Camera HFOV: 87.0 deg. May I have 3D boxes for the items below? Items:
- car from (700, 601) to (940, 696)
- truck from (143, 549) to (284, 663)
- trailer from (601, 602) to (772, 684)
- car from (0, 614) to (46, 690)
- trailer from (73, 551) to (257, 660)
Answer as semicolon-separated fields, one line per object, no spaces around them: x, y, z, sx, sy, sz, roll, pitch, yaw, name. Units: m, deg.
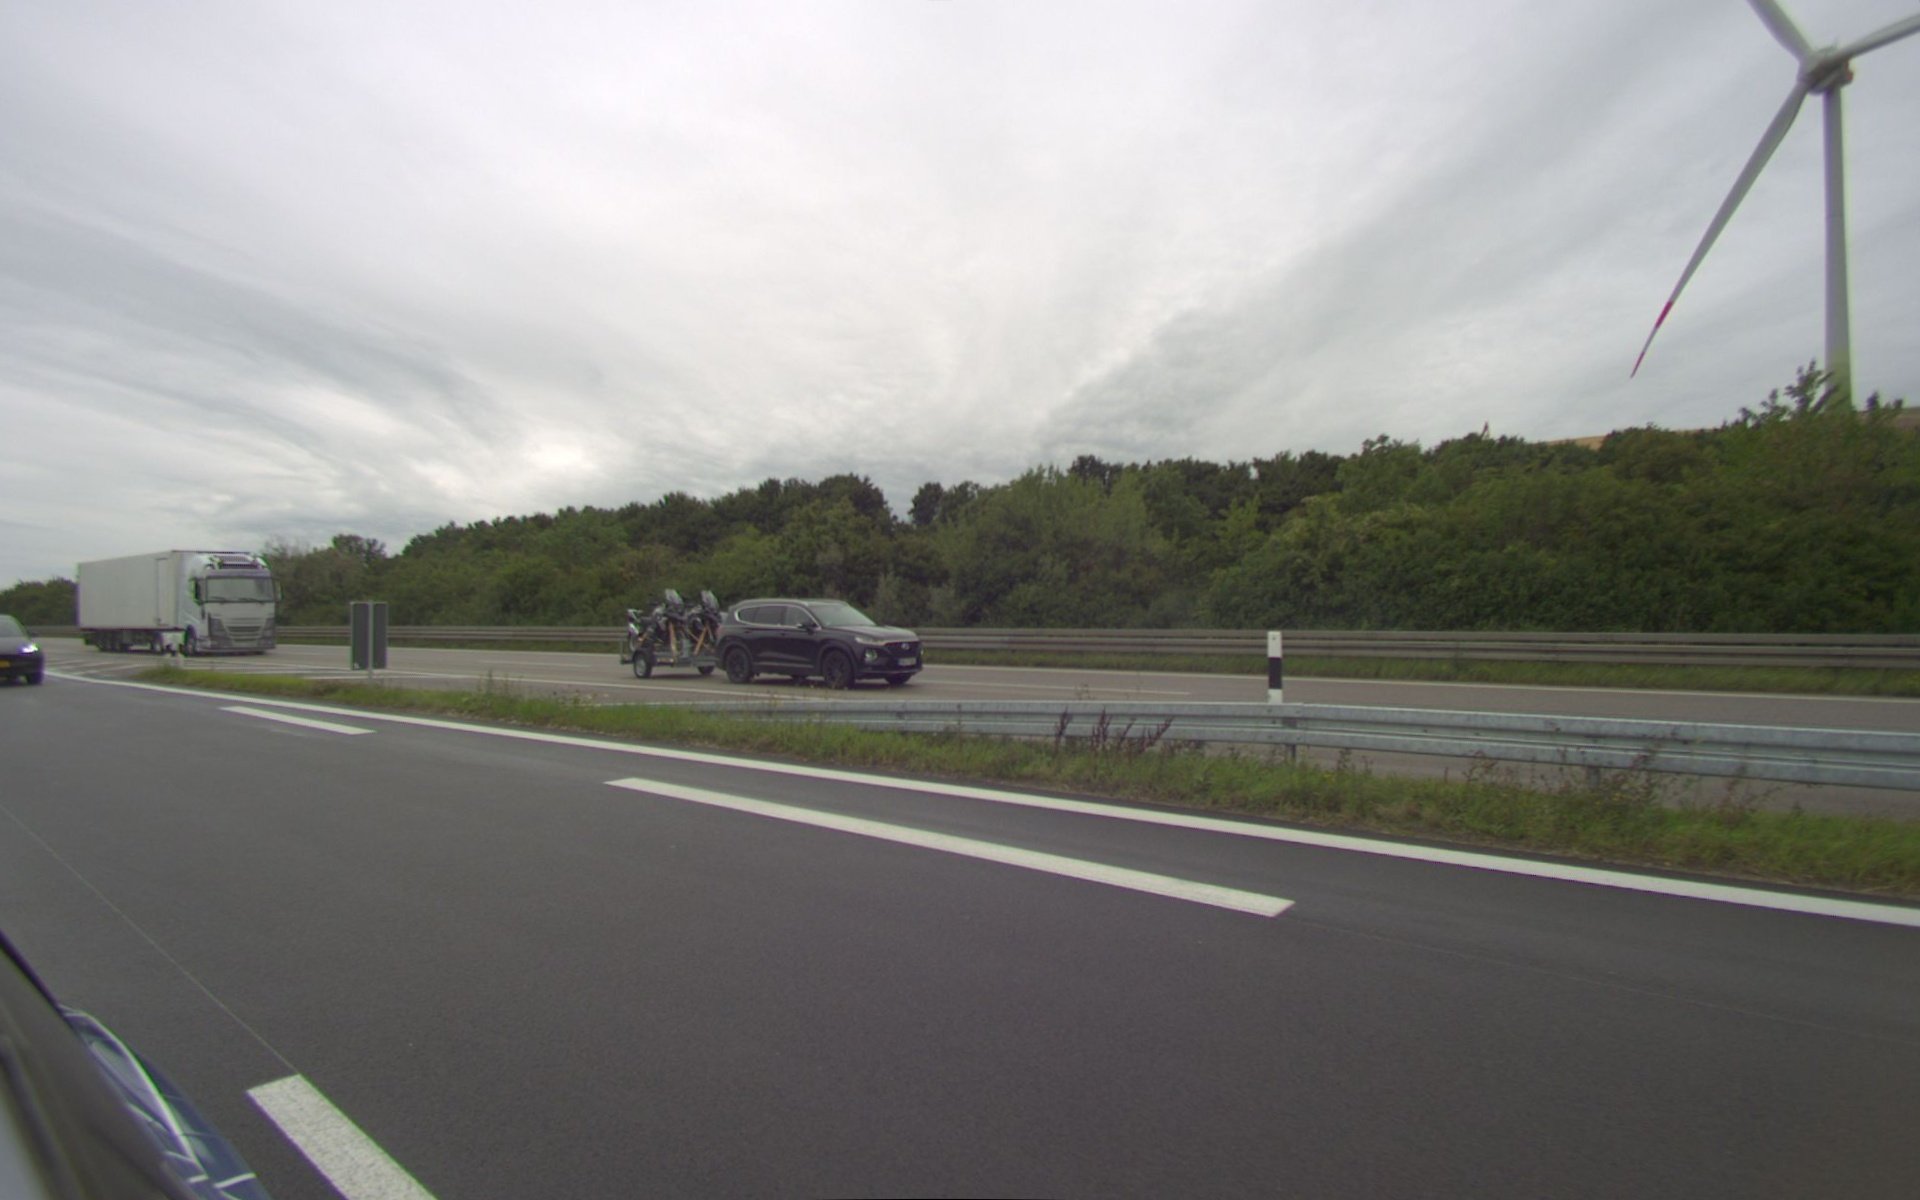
-2.835;0.859;19.900;4.800;1.638;1.864;0;0;38;car
-29.458;0.256;39.853;6.434;4.166;2.741;-1;0;37;truck
-6.101;0.885;22.459;3.606;1.638;1.864;0;0;38;trailer
-22.998;1.173;23.550;4.550;1.650;1.942;0;0;40;car
-34.665;0.297;43.771;13.927;4.166;2.741;-1;0;37;trailer
